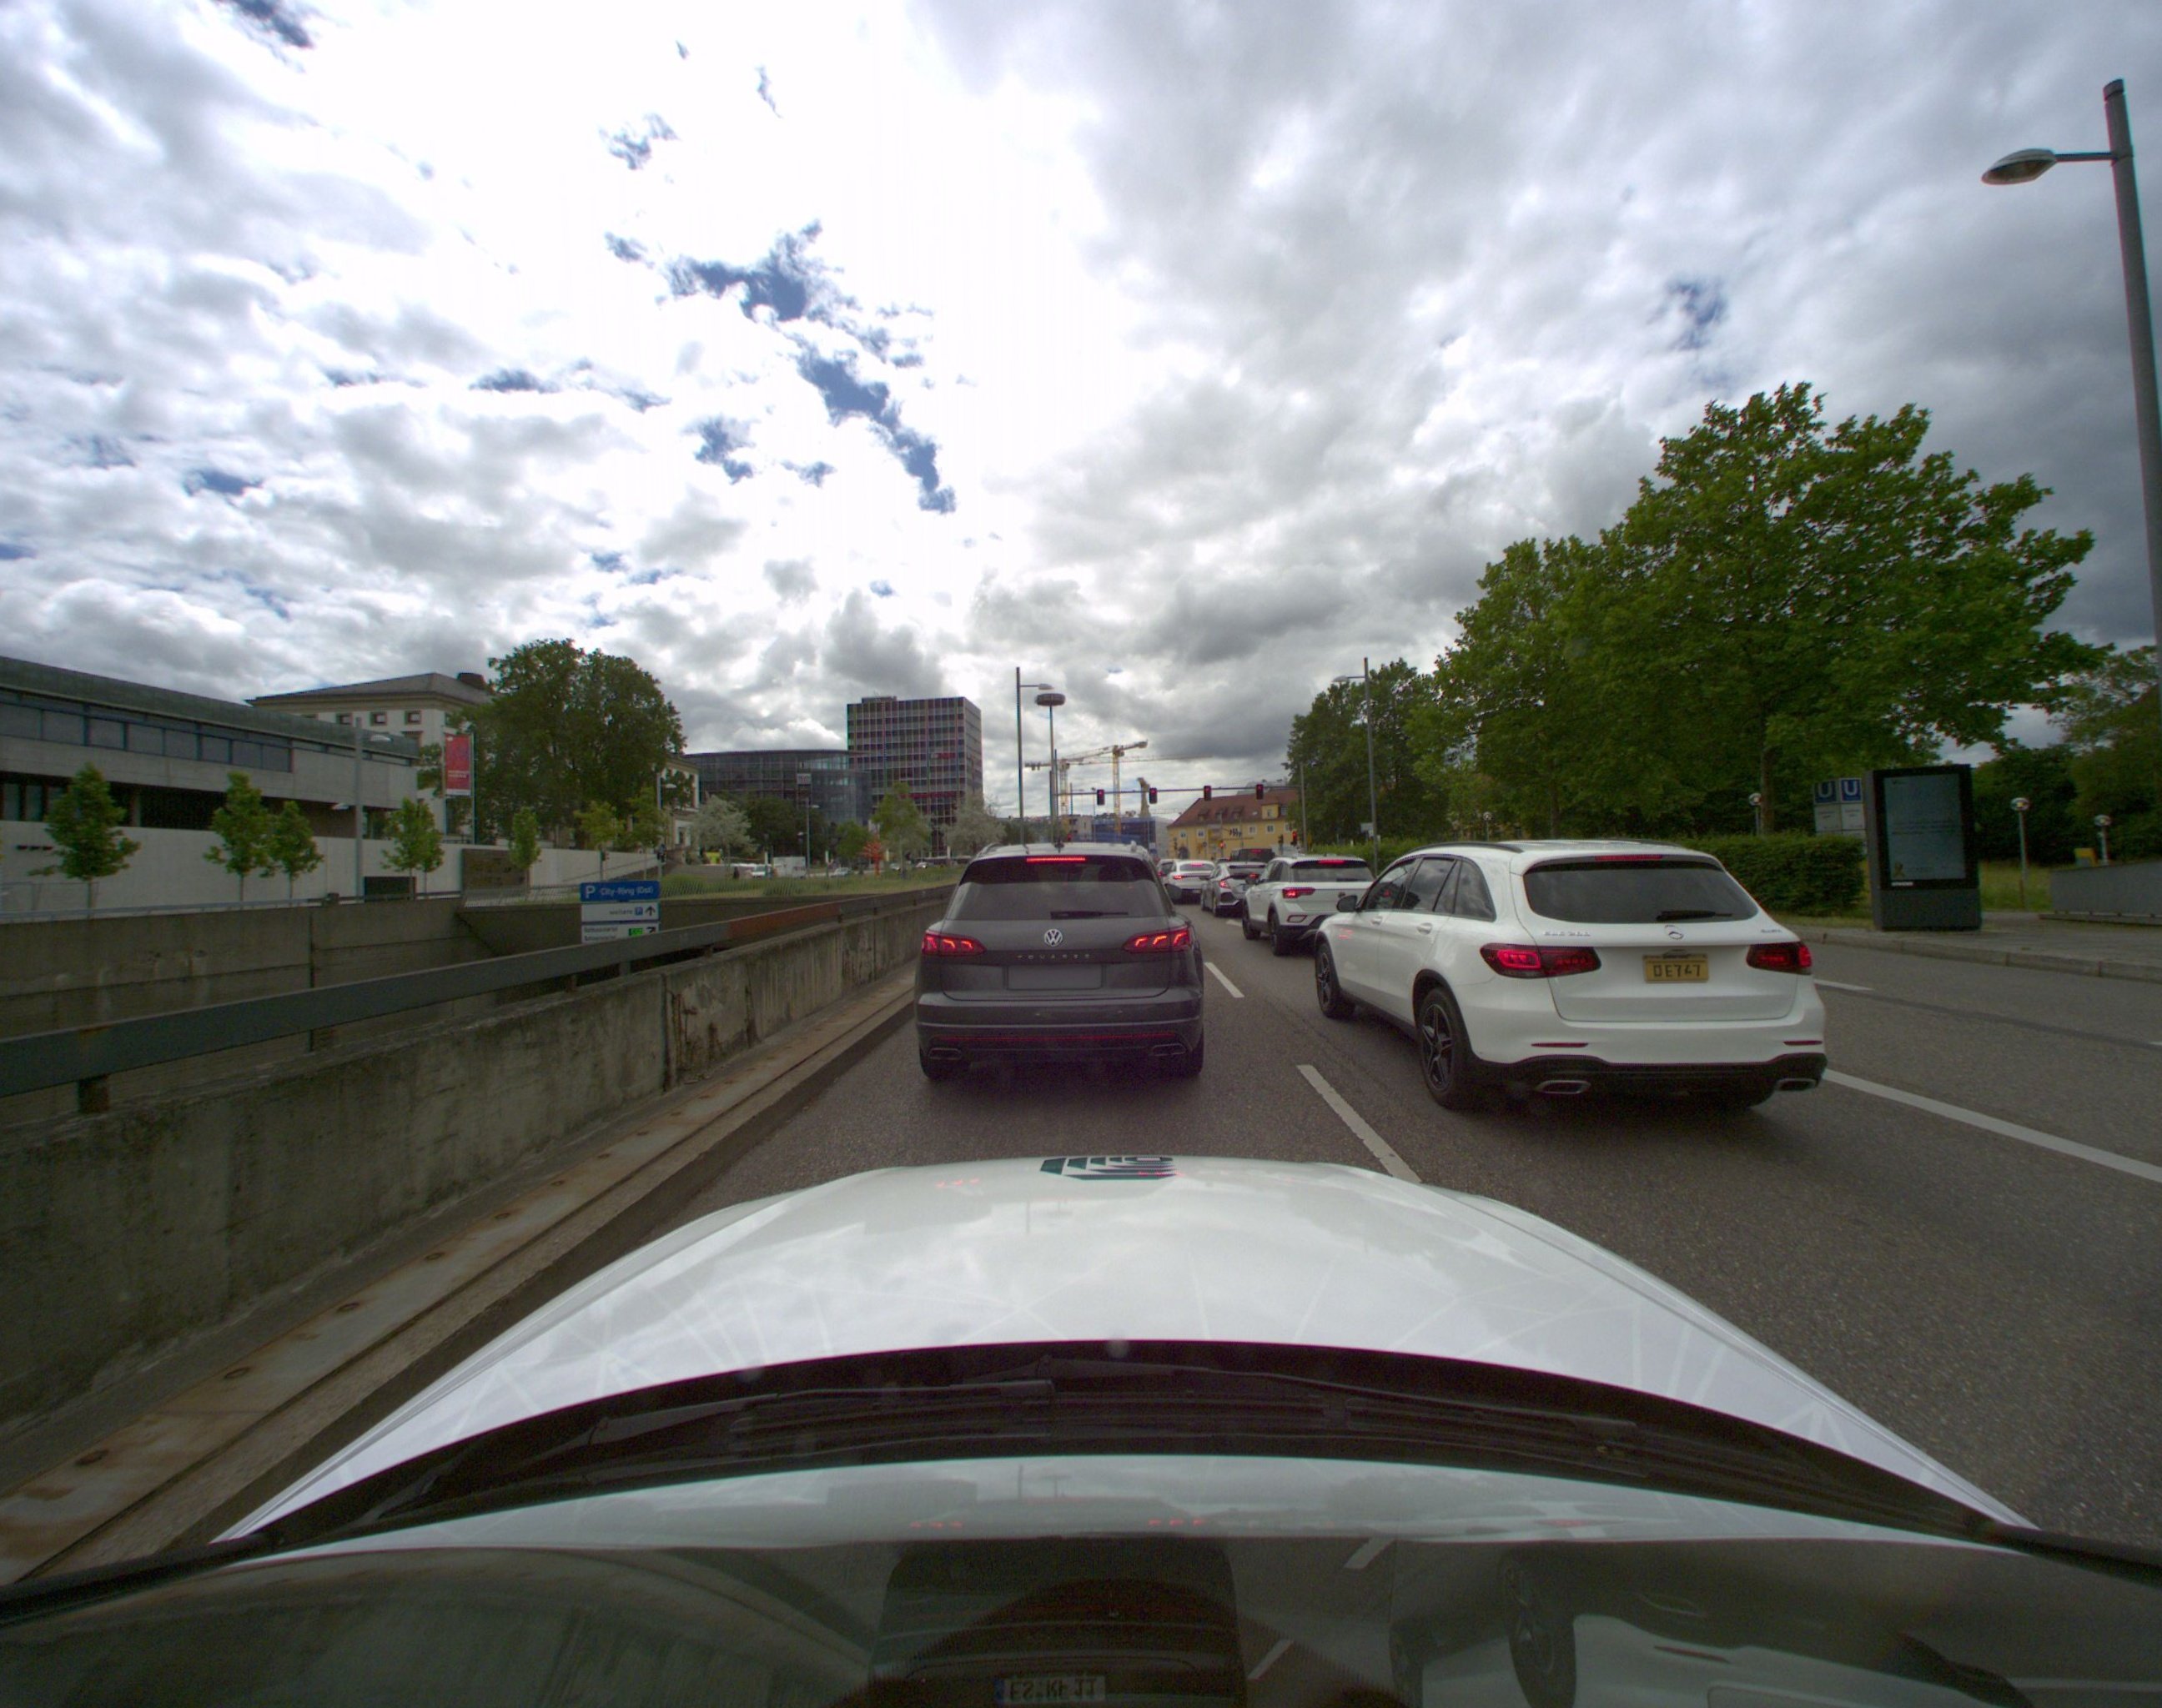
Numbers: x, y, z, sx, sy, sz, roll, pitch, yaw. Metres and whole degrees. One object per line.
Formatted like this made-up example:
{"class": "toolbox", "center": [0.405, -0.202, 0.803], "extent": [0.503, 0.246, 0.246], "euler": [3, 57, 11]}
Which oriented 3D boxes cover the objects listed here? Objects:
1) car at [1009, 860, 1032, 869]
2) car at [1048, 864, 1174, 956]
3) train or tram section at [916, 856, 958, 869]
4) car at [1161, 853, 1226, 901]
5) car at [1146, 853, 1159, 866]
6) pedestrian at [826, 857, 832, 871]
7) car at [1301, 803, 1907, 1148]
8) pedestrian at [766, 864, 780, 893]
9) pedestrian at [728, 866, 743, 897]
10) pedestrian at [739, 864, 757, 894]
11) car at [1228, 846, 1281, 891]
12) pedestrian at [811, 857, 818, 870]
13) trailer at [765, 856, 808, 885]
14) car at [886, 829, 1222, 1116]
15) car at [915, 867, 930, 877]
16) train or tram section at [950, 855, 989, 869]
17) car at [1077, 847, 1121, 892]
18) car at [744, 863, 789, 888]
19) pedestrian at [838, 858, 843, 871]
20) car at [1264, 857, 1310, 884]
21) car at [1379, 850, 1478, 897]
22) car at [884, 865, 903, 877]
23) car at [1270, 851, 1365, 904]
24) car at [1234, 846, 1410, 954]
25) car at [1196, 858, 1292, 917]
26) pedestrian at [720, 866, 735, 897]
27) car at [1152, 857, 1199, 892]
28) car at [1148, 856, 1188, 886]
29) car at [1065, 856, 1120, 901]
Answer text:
{"class": "car", "center": [-11.126, 1.979, 150.597], "extent": [4.173, 1.603, 1.764], "euler": [-1, -2, 38]}
{"class": "car", "center": [0.522, 0.884, 14.508], "extent": [1.944, 1.384, 3.932], "euler": [0, 0, 1]}
{"class": "train or tram section", "center": [-33.883, 1.947, 191.382], "extent": [10.296, 3.010, 2.612], "euler": [-1, -2, 30]}
{"class": "car", "center": [3.901, 0.796, 28.963], "extent": [1.918, 1.529, 4.493], "euler": [-1, -1, 3]}
{"class": "car", "center": [9.719, 0.745, 111.408], "extent": [1.612, 1.627, 4.002], "euler": [0, -2, 3]}
{"class": "pedestrian", "center": [-38.977, 1.531, 125.916], "extent": [0.740, 2.013, 0.915], "euler": [-2, 1, -17]}
{"class": "car", "center": [3.154, 0.610, 6.236], "extent": [1.918, 1.653, 4.493], "euler": [-1, 0, 3]}
{"class": "pedestrian", "center": [-22.646, 1.791, 59.909], "extent": [0.729, 2.012, 0.628], "euler": [-2, 4, -6]}
{"class": "pedestrian", "center": [-23.356, 1.859, 55.065], "extent": [0.794, 2.013, 0.830], "euler": [-2, 0, -26]}
{"class": "pedestrian", "center": [-23.051, 1.699, 56.360], "extent": [0.854, 2.013, 0.631], "euler": [-2, 1, 12]}
{"class": "car", "center": [8.258, 0.685, 39.055], "extent": [1.902, 2.014, 4.014], "euler": [0, -1, 3]}
{"class": "pedestrian", "center": [-41.501, 1.469, 126.739], "extent": [0.735, 2.013, 0.793], "euler": [-2, 1, 2]}
{"class": "trailer", "center": [-28.574, 1.573, 79.206], "extent": [2.030, 2.604, 5.511], "euler": [0, 0, 2]}
{"class": "car", "center": [-0.103, 0.708, 6.783], "extent": [1.944, 1.651, 4.001], "euler": [-1, 0, 1]}
{"class": "car", "center": [-25.031, 2.834, 128.518], "extent": [1.727, 1.495, 3.594], "euler": [0, -2, 0]}
{"class": "train or tram section", "center": [-25.580, 1.860, 186.665], "extent": [8.836, 3.010, 2.612], "euler": [-1, -2, 30]}
{"class": "car", "center": [0.872, 0.712, 38.683], "extent": [1.944, 2.018, 3.932], "euler": [0, 0, 1]}
{"class": "car", "center": [-28.597, 1.943, 74.158], "extent": [1.985, 2.013, 4.695], "euler": [-2, 1, 3]}
{"class": "pedestrian", "center": [-38.029, 1.610, 128.610], "extent": [0.740, 2.013, 0.915], "euler": [-2, 1, -17]}
{"class": "car", "center": [11.494, 0.928, 45.647], "extent": [1.751, 1.447, 3.633], "euler": [0, -1, 1]}
{"class": "car", "center": [11.542, 0.655, 27.379], "extent": [1.921, 1.460, 4.536], "euler": [0, -1, 7]}
{"class": "car", "center": [-25.455, 2.337, 110.721], "extent": [1.727, 1.495, 3.594], "euler": [0, -2, 0]}
{"class": "car", "center": [8.027, 0.772, 28.067], "extent": [1.987, 1.640, 4.304], "euler": [-1, 0, 0]}
{"class": "car", "center": [3.909, 0.702, 14.074], "extent": [1.918, 1.551, 4.493], "euler": [-1, -1, 3]}
{"class": "car", "center": [4.313, 0.854, 22.222], "extent": [1.918, 1.432, 4.493], "euler": [-1, -1, 3]}
{"class": "pedestrian", "center": [-23.647, 1.841, 54.443], "extent": [0.794, 2.013, 0.830], "euler": [-2, 0, -26]}
{"class": "car", "center": [4.337, 0.938, 37.778], "extent": [1.918, 1.529, 4.050], "euler": [-1, -1, 3]}
{"class": "car", "center": [4.656, 0.927, 44.063], "extent": [1.918, 1.529, 4.050], "euler": [-1, -1, 3]}
{"class": "car", "center": [0.474, 0.876, 31.150], "extent": [1.944, 1.600, 3.932], "euler": [0, 0, 1]}
